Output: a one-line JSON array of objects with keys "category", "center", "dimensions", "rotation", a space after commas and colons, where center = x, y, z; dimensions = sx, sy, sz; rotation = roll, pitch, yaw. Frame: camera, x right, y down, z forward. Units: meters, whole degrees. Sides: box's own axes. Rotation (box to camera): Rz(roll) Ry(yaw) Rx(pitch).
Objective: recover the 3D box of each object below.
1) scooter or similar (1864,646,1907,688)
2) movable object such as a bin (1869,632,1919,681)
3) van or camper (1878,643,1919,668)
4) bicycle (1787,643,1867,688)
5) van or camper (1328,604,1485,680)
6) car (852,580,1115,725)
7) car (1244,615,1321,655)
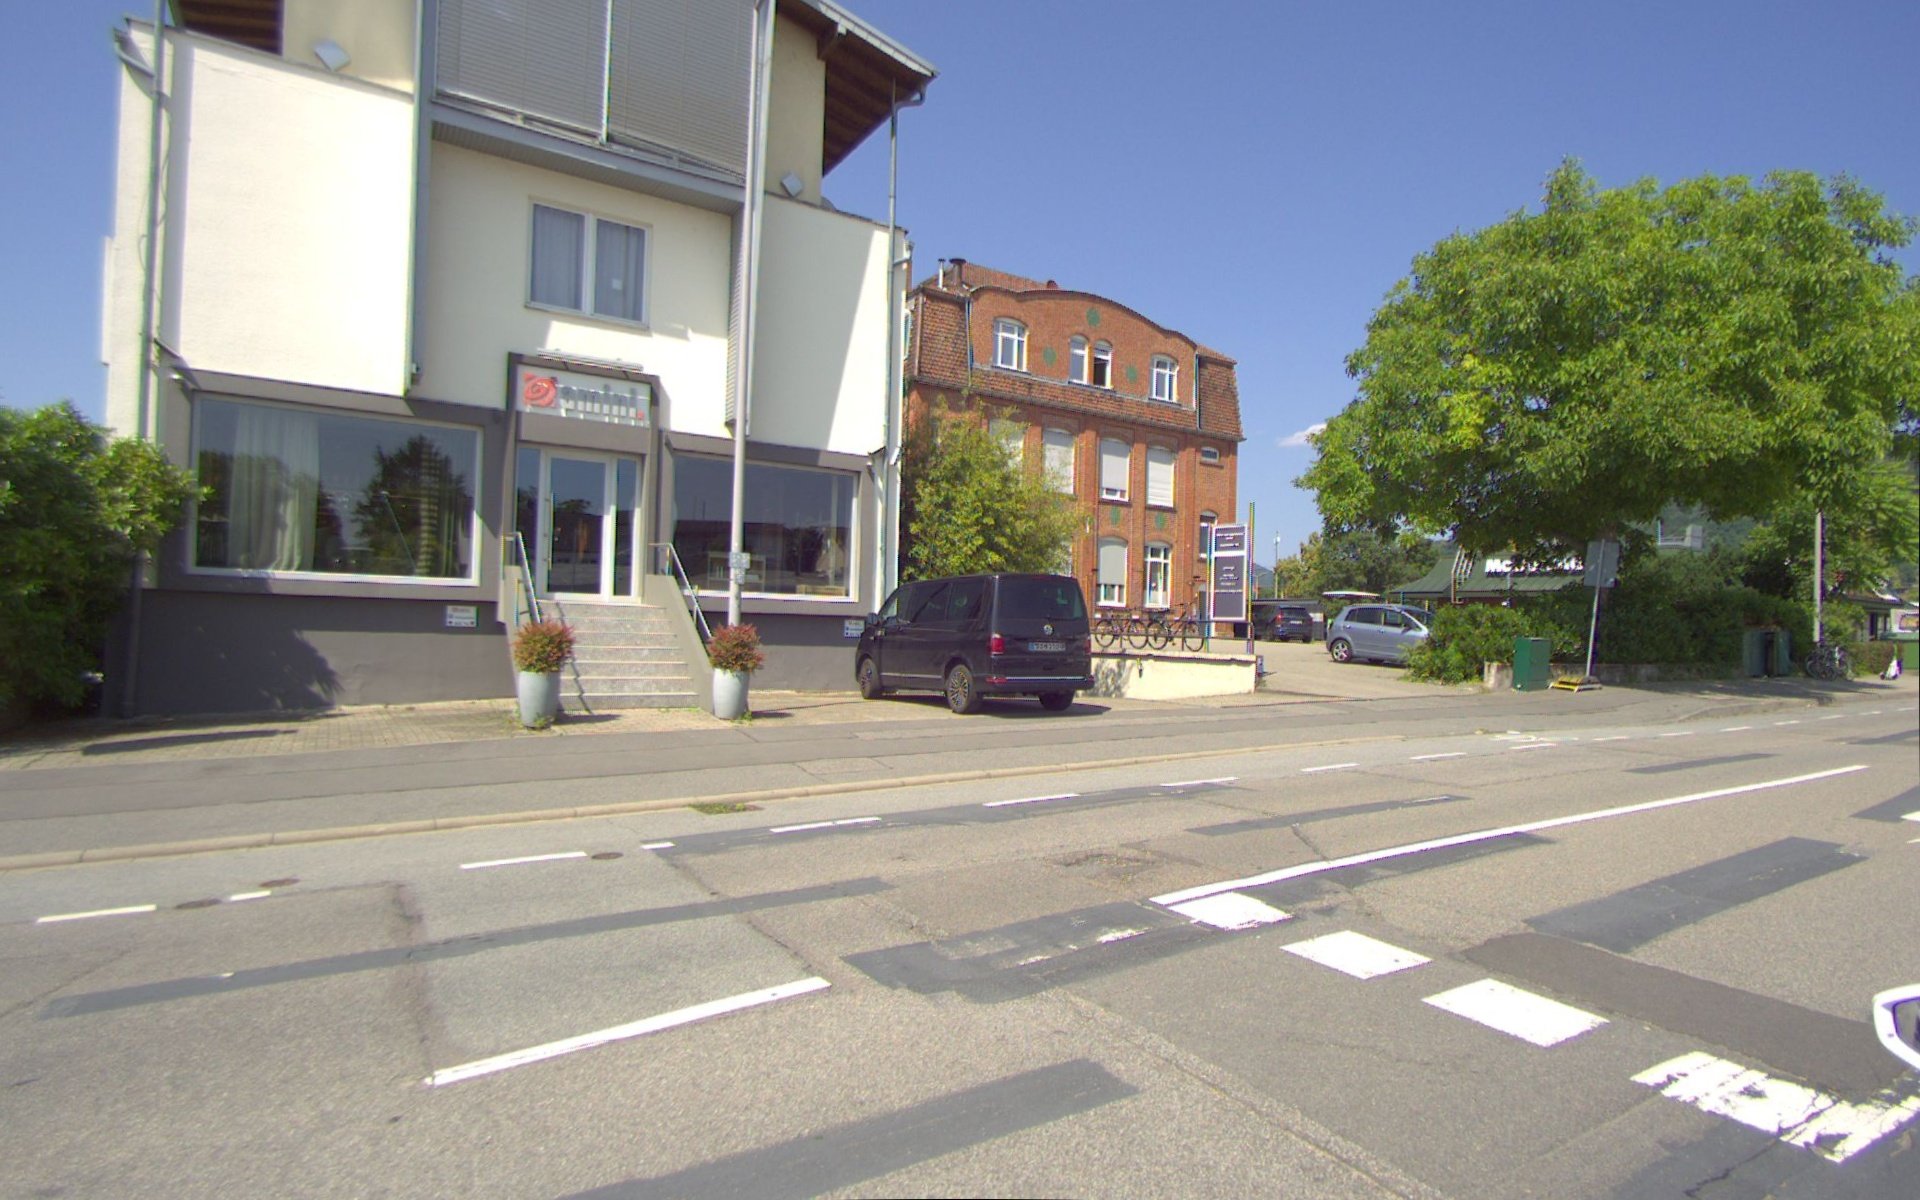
[{"category": "scooter or similar", "center": [27.729, 1.992, 30.095], "dimensions": [1.609, 1.143, 0.641], "rotation": [2, 2, -39]}, {"category": "movable object such as a bin", "center": [31.901, 1.900, 34.061], "dimensions": [1.297, 1.611, 1.436], "rotation": [2, -2, -40]}, {"category": "van or camper", "center": [70.044, 4.118, 73.598], "dimensions": [3.940, 1.595, 1.990], "rotation": [3, 1, 40]}, {"category": "bicycle", "center": [24.433, 1.818, 28.299], "dimensions": [2.738, 1.133, 1.020], "rotation": [2, 2, -35]}, {"category": "van or camper", "center": [11.460, 1.026, 25.966], "dimensions": [1.614, 1.687, 3.376], "rotation": [1, 1, -29]}, {"category": "car", "center": [0.168, 0.692, 15.576], "dimensions": [2.067, 1.890, 4.546], "rotation": [2, 0, -29]}, {"category": "car", "center": [14.534, 1.584, 45.530], "dimensions": [2.113, 1.654, 4.480], "rotation": [1, -2, 1]}]
